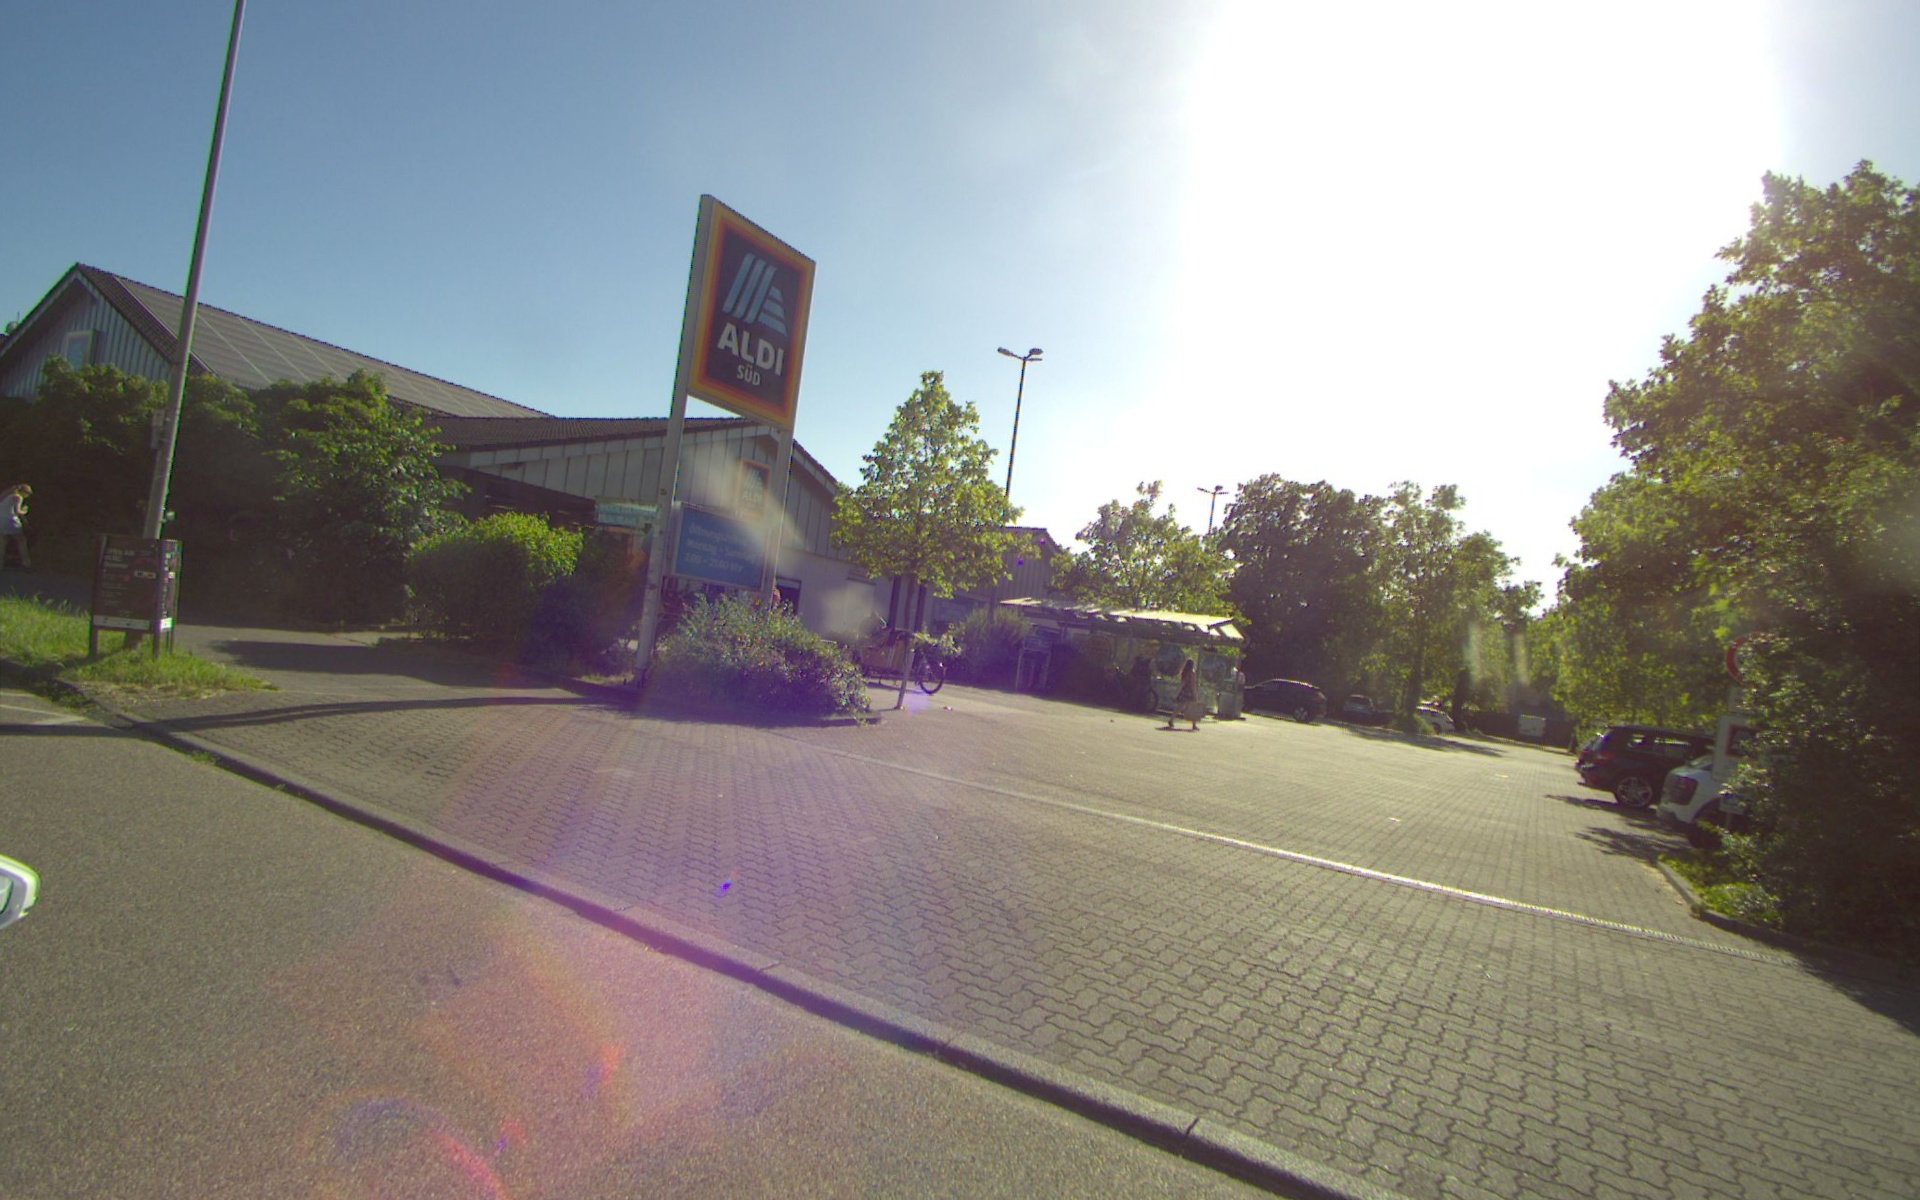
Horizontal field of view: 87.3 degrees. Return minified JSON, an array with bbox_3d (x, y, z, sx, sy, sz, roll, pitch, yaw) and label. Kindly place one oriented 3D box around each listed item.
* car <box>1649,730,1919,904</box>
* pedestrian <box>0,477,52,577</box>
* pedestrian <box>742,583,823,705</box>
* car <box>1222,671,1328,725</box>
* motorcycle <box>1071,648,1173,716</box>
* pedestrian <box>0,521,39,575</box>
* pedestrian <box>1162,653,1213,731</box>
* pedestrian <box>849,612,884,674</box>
[{"bbox_3d":[10.705,2.640,12.091,3.739,1.520,1.776,7,-2,31],"label":"car"},{"bbox_3d":[-18.443,-1.431,19.627,0.797,1.802,0.798,7,-1,39],"label":"pedestrian"},{"bbox_3d":[-2.595,0.642,14.713,0.688,1.650,0.769,9,-1,-38],"label":"pedestrian"},{"bbox_3d":[13.894,4.328,44.439,3.934,1.725,1.998,7,-2,32],"label":"car"},{"bbox_3d":[4.592,2.323,28.662,2.554,1.526,0.871,7,-2,32],"label":"motorcycle"},{"bbox_3d":[-19.061,-1.052,20.268,0.798,0.991,0.532,6,-2,39],"label":"pedestrian"},{"bbox_3d":[5.312,2.143,23.472,0.814,1.675,0.673,7,-1,30],"label":"pedestrian"},{"bbox_3d":[-2.615,1.184,28.072,0.682,1.637,0.775,8,-1,-12],"label":"pedestrian"}]
